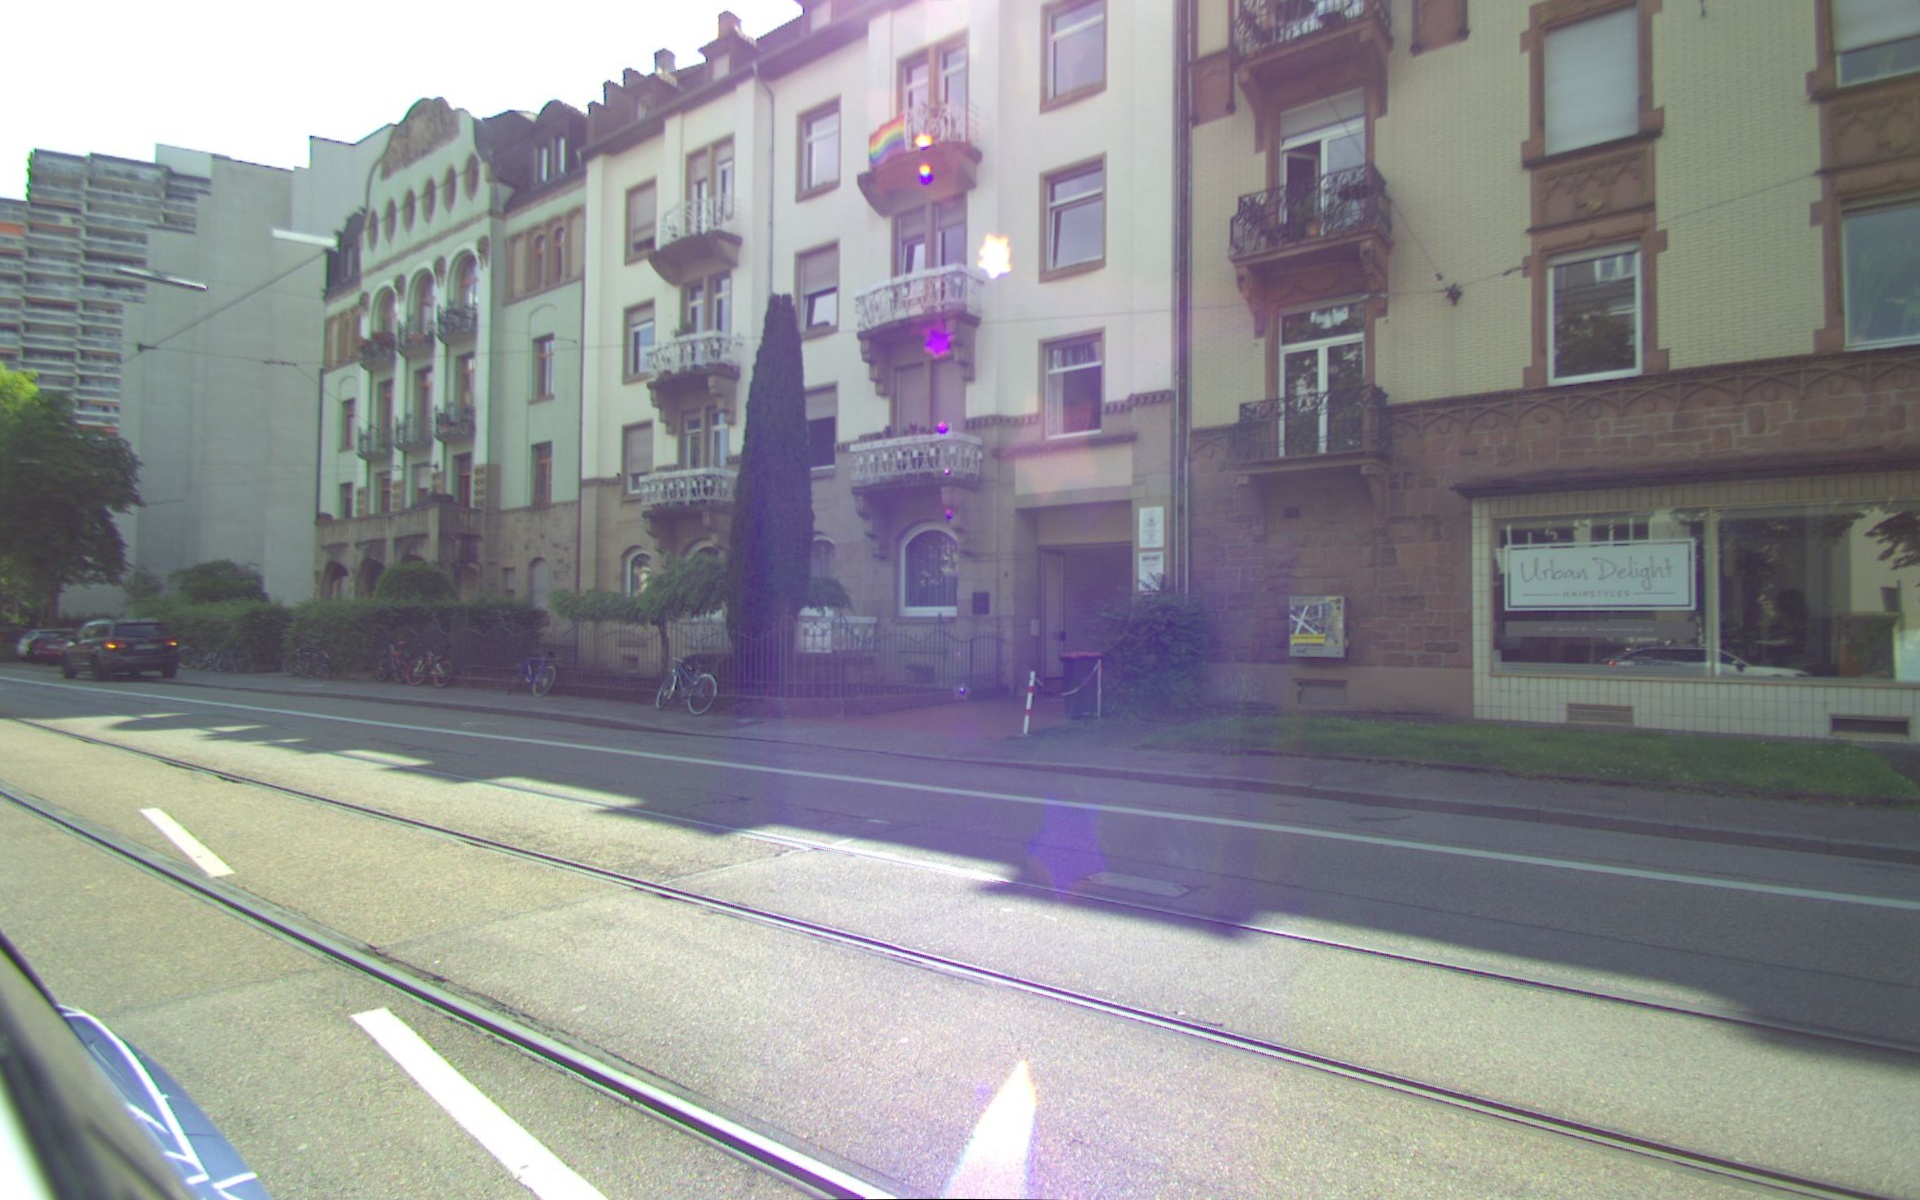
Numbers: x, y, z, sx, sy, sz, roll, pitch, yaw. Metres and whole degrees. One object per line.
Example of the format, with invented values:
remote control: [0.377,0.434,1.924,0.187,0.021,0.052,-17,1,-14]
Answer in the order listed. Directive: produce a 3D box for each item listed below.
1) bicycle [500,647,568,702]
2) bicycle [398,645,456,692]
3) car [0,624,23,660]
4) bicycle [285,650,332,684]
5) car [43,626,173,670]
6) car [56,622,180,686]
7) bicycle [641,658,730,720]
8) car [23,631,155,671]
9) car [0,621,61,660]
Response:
bicycle: [-8.875,1.518,21.035,1.872,1.037,0.532,0,-2,42]
bicycle: [-12.492,1.586,23.700,1.872,0.993,0.579,0,-2,42]
car: [-51.282,2.169,52.528,1.733,1.857,3.619,-1,-3,37]
bicycle: [-17.529,1.779,27.219,1.872,0.803,0.579,0,0,42]
car: [-33.091,1.845,39.378,1.608,1.652,3.587,-1,-2,37]
car: [-24.474,1.518,29.364,4.324,1.724,1.775,-1,-3,37]
bicycle: [-4.847,1.528,17.780,2.068,0.913,0.517,1,-1,45]
car: [-35.385,2.063,41.186,1.633,1.548,3.841,-1,-3,39]
car: [-48.238,2.060,51.107,1.829,1.940,3.947,-1,-3,39]
